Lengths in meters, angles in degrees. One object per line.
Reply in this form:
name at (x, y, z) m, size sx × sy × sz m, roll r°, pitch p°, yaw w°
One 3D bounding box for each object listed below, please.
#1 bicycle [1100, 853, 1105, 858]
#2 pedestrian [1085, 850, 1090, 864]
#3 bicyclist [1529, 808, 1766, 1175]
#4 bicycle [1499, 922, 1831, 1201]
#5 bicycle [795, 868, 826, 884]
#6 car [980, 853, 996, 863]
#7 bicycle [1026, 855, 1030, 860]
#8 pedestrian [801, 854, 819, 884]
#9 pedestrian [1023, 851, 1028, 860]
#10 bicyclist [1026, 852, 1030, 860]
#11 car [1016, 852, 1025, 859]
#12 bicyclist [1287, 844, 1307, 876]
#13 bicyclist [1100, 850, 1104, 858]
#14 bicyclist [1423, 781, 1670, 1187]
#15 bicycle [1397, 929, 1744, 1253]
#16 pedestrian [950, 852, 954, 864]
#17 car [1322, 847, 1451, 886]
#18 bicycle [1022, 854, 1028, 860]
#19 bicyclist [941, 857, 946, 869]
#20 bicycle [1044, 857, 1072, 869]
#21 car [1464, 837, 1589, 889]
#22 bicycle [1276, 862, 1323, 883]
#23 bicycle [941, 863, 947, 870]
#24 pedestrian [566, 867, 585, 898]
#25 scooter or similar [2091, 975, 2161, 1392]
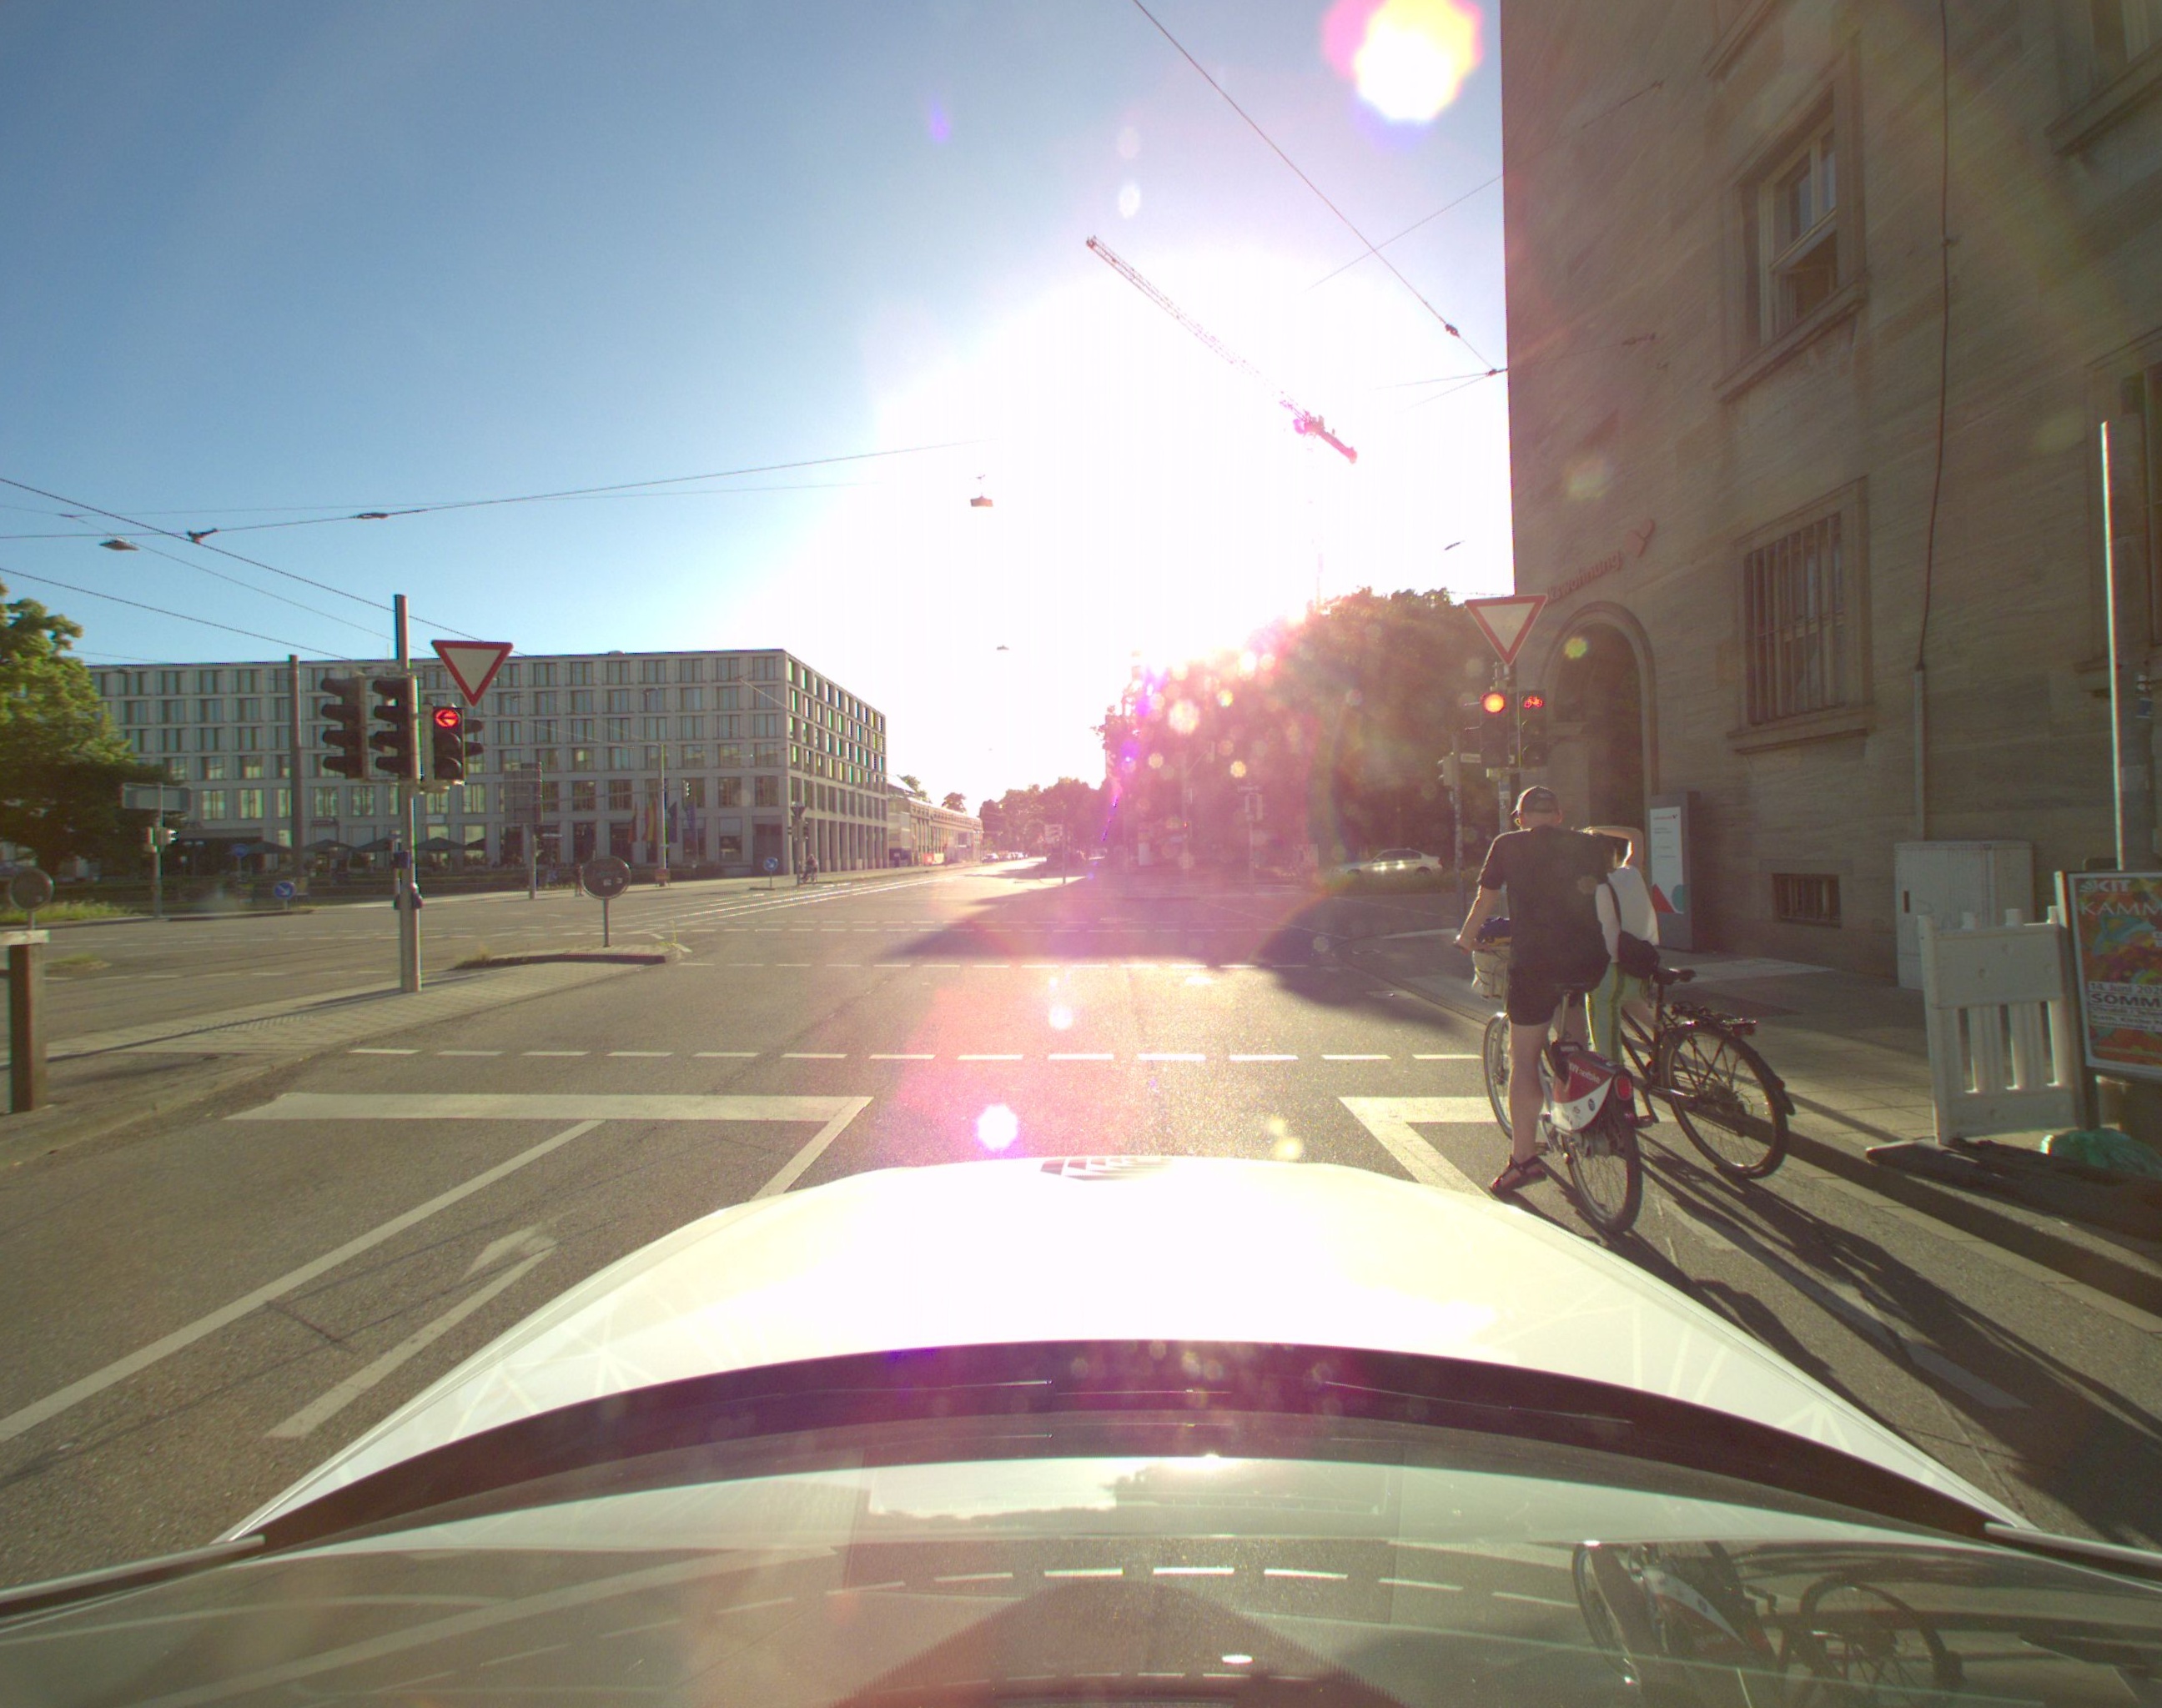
bicycle at (5.207, 0.324, 198.609) m, size 0.890 × 1.219 × 2.784 m, roll 0°, pitch -1°, yaw -9°
pedestrian at (0.783, 0.385, 97.830) m, size 0.576 × 1.689 × 0.584 m, roll -2°, pitch 0°, yaw -6°
bicyclist at (2.959, 0.656, 4.358) m, size 0.581 × 1.738 × 0.951 m, roll -2°, pitch 0°, yaw 2°
bicycle at (2.968, 0.971, 4.392) m, size 0.579 × 1.044 × 1.748 m, roll -2°, pitch 0°, yaw 3°
bicycle at (-14.762, 1.187, 44.368) m, size 1.696 × 0.823 × 0.577 m, roll -2°, pitch 0°, yaw 29°
car at (-15.847, 0.732, 139.103) m, size 1.986 × 1.599 × 4.002 m, roll -2°, pitch 0°, yaw 1°
bicycle at (-11.899, 0.774, 183.230) m, size 0.748 × 1.205 × 3.108 m, roll 0°, pitch -1°, yaw 1°
pedestrian at (-14.765, 0.797, 44.360) m, size 0.735 × 1.595 × 0.577 m, roll -2°, pitch 0°, yaw 29°
pedestrian at (-12.198, 0.286, 178.628) m, size 0.746 × 2.063 × 1.052 m, roll 0°, pitch -1°, yaw 7°
bicyclist at (-11.907, 0.409, 183.114) m, size 0.748 × 1.920 × 1.214 m, roll 0°, pitch -1°, yaw 1°
car at (-14.449, 0.320, 195.313) m, size 1.988 × 1.644 × 3.998 m, roll -2°, pitch 0°, yaw -1°
bicyclist at (9.622, 0.269, 36.285) m, size 0.742 × 1.406 × 0.704 m, roll 0°, pitch -1°, yaw 8°
bicyclist at (5.197, -0.073, 198.673) m, size 0.891 × 2.014 × 0.746 m, roll 0°, pitch -1°, yaw -10°
bicyclist at (2.180, 0.552, 3.936) m, size 0.621 × 1.715 × 0.912 m, roll -2°, pitch 0°, yaw 0°
bicycle at (2.187, 0.972, 3.946) m, size 0.621 × 1.044 × 1.747 m, roll -2°, pitch 0°, yaw 1°
pedestrian at (-20.905, 0.603, 132.197) m, size 0.585 × 1.889 × 0.478 m, roll 0°, pitch -1°, yaw 1°
car at (12.438, 0.507, 33.403) m, size 4.559 × 1.516 × 2.001 m, roll 0°, pitch -1°, yaw 1°
bicycle at (-12.187, 0.711, 178.556) m, size 0.746 × 1.205 × 3.114 m, roll 0°, pitch -1°, yaw 7°
bicyclist at (-17.679, 1.124, 104.934) m, size 0.492 × 1.498 × 0.667 m, roll -2°, pitch 0°, yaw 4°
bicycle at (-1.901, 0.716, 67.429) m, size 2.240 × 0.940 × 0.653 m, roll -2°, pitch 0°, yaw -4°
car at (17.885, 0.354, 32.846) m, size 3.970 × 2.014 × 2.002 m, roll 0°, pitch -1°, yaw 3°
bicycle at (9.715, 0.832, 36.272) m, size 1.932 × 0.889 × 0.719 m, roll -1°, pitch -1°, yaw 8°
bicycle at (-17.669, 1.577, 104.899) m, size 0.492 × 0.839 × 1.158 m, roll -2°, pitch 0°, yaw 4°
pedestrian at (-28.236, 1.592, 45.519) m, size 0.600 × 1.681 × 0.608 m, roll -2°, pitch 0°, yaw 9°
scooter or similar at (3.357, 0.946, 1.833) m, size 0.572 × 1.149 × 1.270 m, roll -1°, pitch 0°, yaw -3°
